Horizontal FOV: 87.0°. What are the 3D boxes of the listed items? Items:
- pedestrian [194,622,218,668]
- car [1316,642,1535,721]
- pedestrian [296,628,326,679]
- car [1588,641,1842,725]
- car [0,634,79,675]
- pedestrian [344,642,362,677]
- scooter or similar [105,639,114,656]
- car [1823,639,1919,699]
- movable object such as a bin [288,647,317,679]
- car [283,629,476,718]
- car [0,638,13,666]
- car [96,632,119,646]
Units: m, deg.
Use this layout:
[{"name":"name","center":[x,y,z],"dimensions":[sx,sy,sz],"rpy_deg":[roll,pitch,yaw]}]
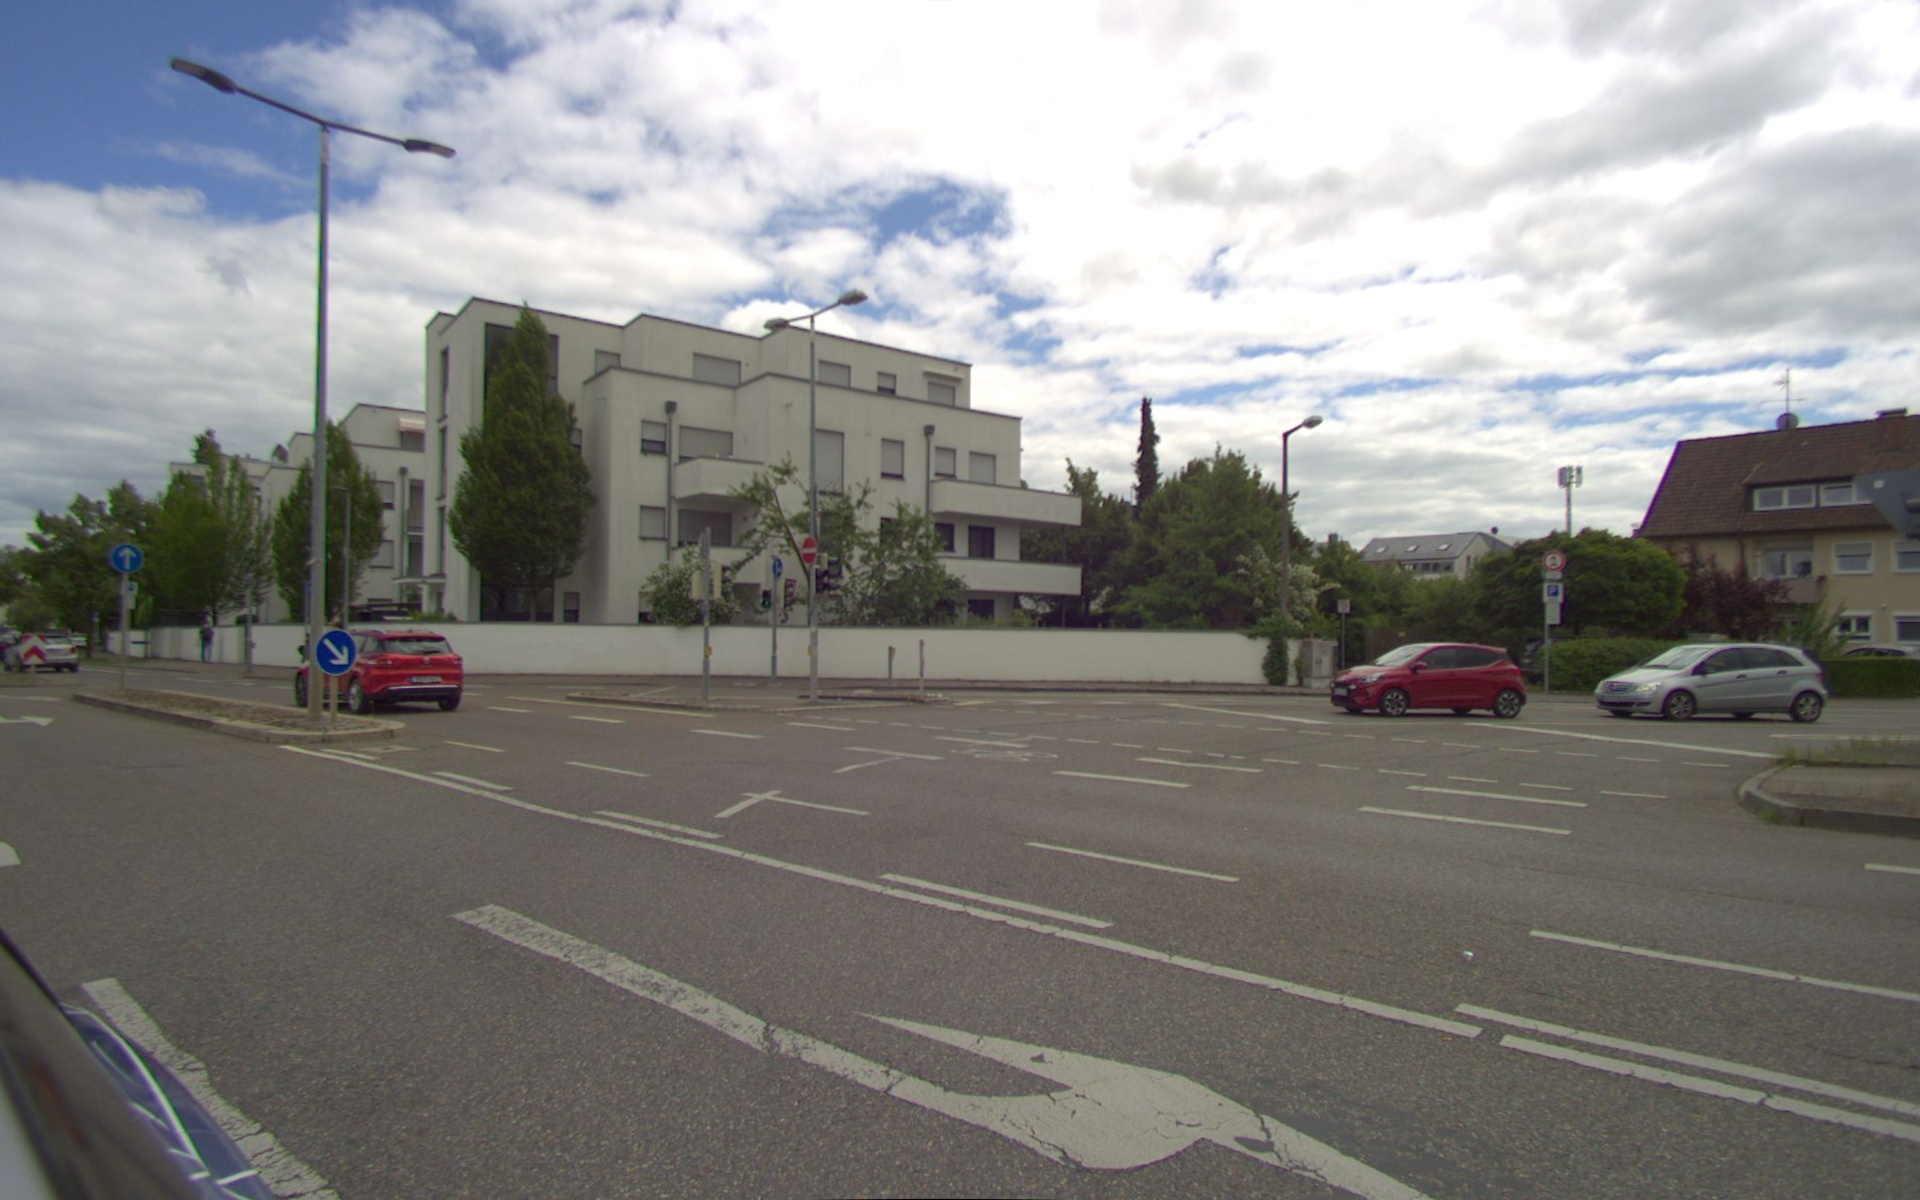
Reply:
[{"name":"pedestrian","center":[-32.885,1.956,44.127],"dimensions":[0.871,1.962,0.641],"rpy_deg":[-1,0,41]},{"name":"car","center":[9.421,1.648,20.648],"dimensions":[3.646,1.458,1.777],"rpy_deg":[2,-3,-6]},{"name":"pedestrian","center":[-20.788,1.707,32.428],"dimensions":[0.731,1.554,0.526],"rpy_deg":[-2,1,38]},{"name":"car","center":[15.472,1.688,20.865],"dimensions":[4.068,1.547,1.649],"rpy_deg":[2,-4,-4]},{"name":"car","center":[-33.917,1.985,37.144],"dimensions":[3.813,1.420,1.627],"rpy_deg":[-1,-3,38]},{"name":"pedestrian","center":[-19.336,1.885,32.227],"dimensions":[0.443,1.070,0.322],"rpy_deg":[-2,1,39]},{"name":"scooter or similar","center":[-60.364,3.387,71.845],"dimensions":[0.428,1.175,1.328],"rpy_deg":[-1,-1,-43]},{"name":"car","center":[29.340,2.110,31.299],"dimensions":[1.761,1.593,4.001],"rpy_deg":[-2,0,-1]},{"name":"movable object such as a bin","center":[-21.430,2.044,32.983],"dimensions":[0.985,0.967,0.492],"rpy_deg":[-2,1,39]},{"name":"car","center":[-10.749,1.295,18.652],"dimensions":[4.062,1.459,1.703],"rpy_deg":[-1,-4,39]},{"name":"car","center":[-50.336,2.627,52.160],"dimensions":[3.915,1.402,1.703],"rpy_deg":[-1,-5,40]},{"name":"car","center":[-105.684,4.842,125.472],"dimensions":[1.860,1.628,4.009],"rpy_deg":[2,-3,-37]}]
